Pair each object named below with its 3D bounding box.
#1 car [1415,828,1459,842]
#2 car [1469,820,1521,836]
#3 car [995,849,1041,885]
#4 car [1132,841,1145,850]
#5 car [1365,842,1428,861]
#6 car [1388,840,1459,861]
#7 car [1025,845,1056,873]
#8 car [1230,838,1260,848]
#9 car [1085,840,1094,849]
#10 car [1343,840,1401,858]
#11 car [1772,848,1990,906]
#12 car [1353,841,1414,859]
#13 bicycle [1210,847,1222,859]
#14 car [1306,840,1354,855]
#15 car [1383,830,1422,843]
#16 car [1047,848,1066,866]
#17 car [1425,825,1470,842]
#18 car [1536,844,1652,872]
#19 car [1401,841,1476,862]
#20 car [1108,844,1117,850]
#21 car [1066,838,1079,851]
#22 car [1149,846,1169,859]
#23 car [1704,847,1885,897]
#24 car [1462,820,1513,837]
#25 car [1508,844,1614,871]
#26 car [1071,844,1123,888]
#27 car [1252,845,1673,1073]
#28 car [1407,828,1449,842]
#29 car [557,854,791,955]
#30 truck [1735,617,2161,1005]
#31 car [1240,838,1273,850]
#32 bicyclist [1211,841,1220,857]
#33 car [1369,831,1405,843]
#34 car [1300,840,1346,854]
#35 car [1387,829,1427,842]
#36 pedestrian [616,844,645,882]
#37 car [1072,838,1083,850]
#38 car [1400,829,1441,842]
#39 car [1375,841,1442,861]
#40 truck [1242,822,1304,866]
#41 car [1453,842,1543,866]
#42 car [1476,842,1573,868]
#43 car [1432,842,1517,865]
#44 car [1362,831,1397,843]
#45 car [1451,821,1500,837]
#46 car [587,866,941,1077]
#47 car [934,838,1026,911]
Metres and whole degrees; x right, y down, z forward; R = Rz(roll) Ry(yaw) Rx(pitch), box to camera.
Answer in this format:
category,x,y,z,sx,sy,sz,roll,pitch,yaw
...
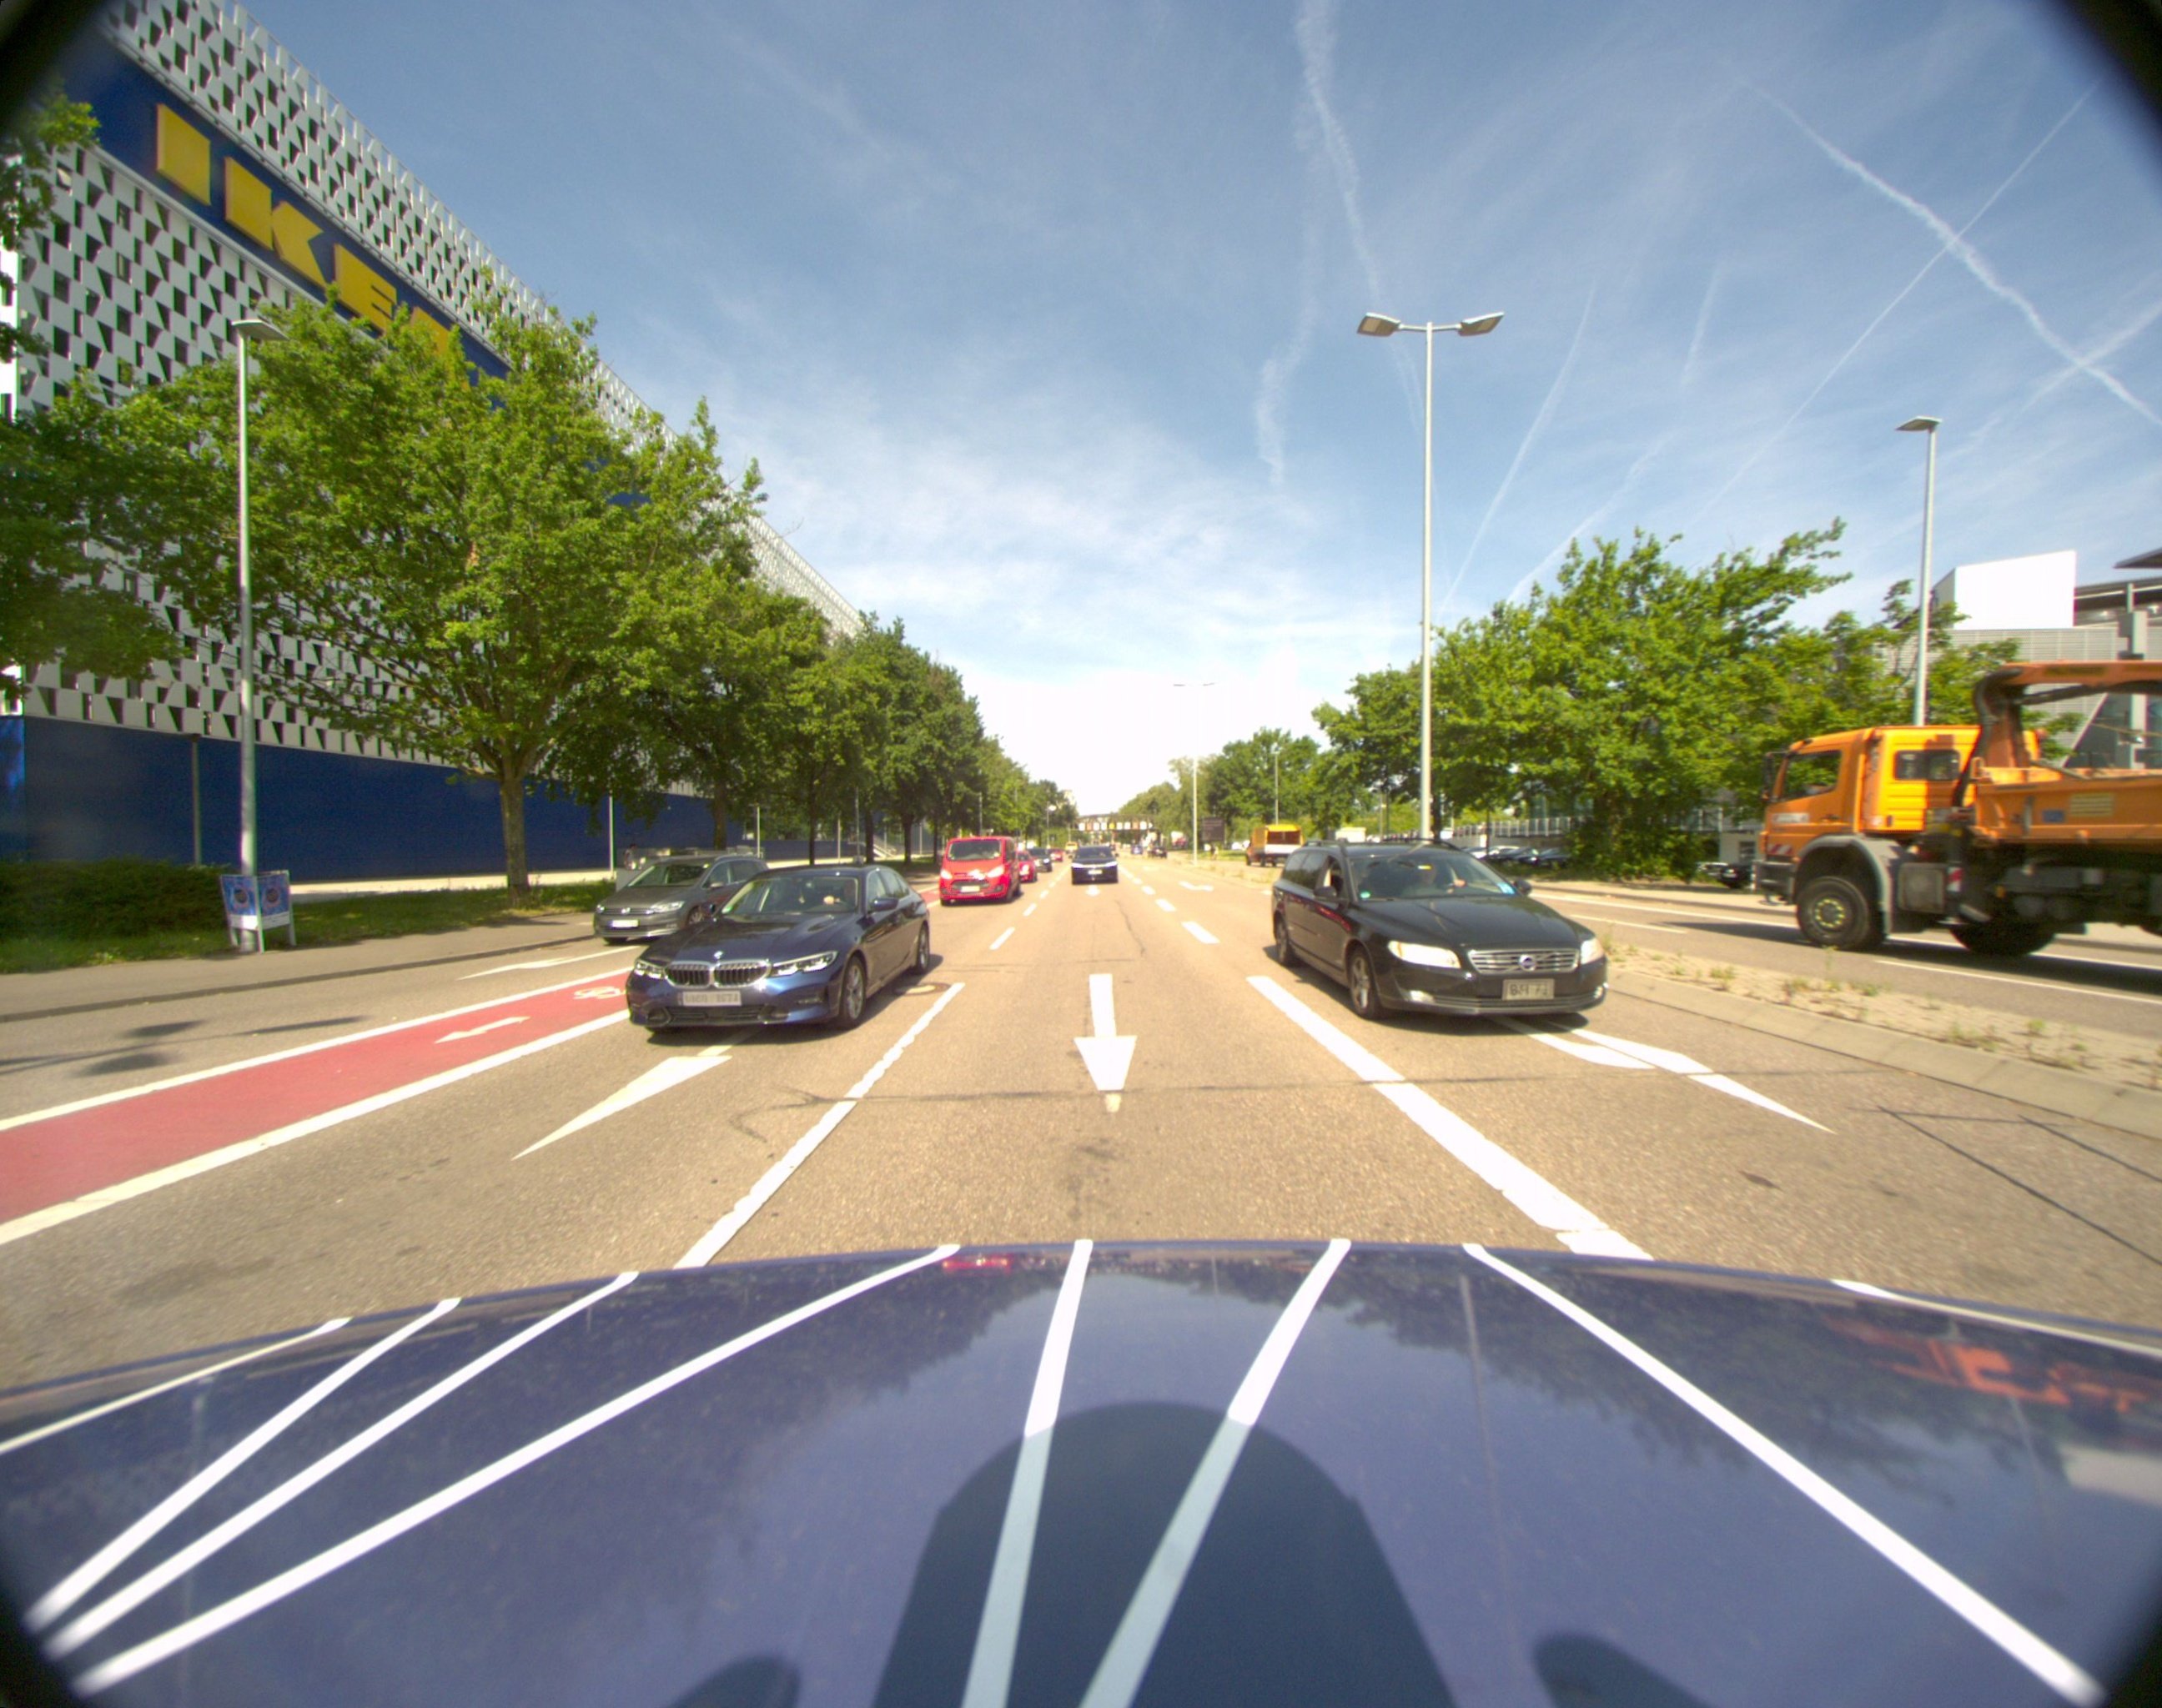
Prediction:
category,x,y,z,sx,sy,sz,roll,pitch,yaw
car,41.178,-2.221,87.937,4.196,1.491,1.690,2,1,2
car,40.687,-2.570,74.727,4.196,1.397,1.690,2,1,2
car,-2.762,0.537,33.980,1.692,1.414,3.915,-2,1,0
car,8.888,-1.304,117.936,1.732,1.430,3.869,1,1,1
car,24.476,-0.195,59.065,4.196,1.317,1.690,2,1,2
car,24.270,-0.232,53.972,4.196,1.292,1.690,2,1,2
car,-2.493,0.280,47.199,1.649,1.531,3.999,-3,1,0
car,24.951,-1.647,115.809,4.196,1.371,1.690,2,1,2
car,2.054,-2.389,181.660,1.998,2.002,3.998,-3,2,1
car,24.513,-0.439,64.129,4.196,1.315,1.690,2,1,2
car,22.708,0.621,21.700,4.226,1.387,1.802,2,1,0
car,24.526,-0.353,61.661,4.196,1.239,1.690,2,1,2
bicycle,13.330,-0.131,75.213,0.573,1.143,1.767,0,1,-11
car,24.997,-0.695,76.303,4.196,1.315,1.690,2,1,2
car,41.601,-2.310,98.416,4.196,1.491,1.690,2,1,2
car,-2.358,0.265,74.170,1.649,1.531,3.999,-3,1,0
car,41.136,-2.317,85.276,4.196,1.722,1.690,2,1,2
car,23.941,0.180,35.557,4.196,1.128,1.695,2,1,2
car,24.101,-0.168,51.339,4.196,1.252,1.690,2,1,2
car,7.099,-1.600,170.432,1.866,1.503,4.000,0,1,3
car,-1.358,-1.687,128.776,1.998,2.002,3.998,-3,2,1
car,9.288,-0.157,90.465,1.851,1.451,4.663,2,1,-1
car,22.814,0.552,24.415,4.034,1.394,1.809,2,1,0
car,41.390,-2.612,77.344,4.196,1.491,1.690,2,1,2
car,24.125,0.156,38.311,4.196,1.116,1.719,2,1,2
car,0.603,0.423,30.136,1.847,1.531,3.999,-3,1,0
car,3.211,0.707,7.737,1.882,1.513,4.868,-2,1,1
car,41.202,-2.251,90.271,4.196,1.491,1.690,2,1,2
car,-8.078,0.911,15.694,1.997,1.646,4.392,-2,1,8
truck,11.568,-0.383,7.969,2.753,3.659,7.578,2,1,1
car,24.902,-1.473,108.027,4.196,1.491,1.690,2,1,2
bicyclist,13.322,-0.514,75.106,0.578,1.587,0.909,1,2,-12
car,41.594,-2.335,103.380,4.196,1.491,1.690,2,1,2
car,24.966,-0.743,78.517,4.196,1.315,1.690,2,1,2
car,41.206,-2.292,96.132,4.196,1.491,1.690,2,1,2
pedestrian,-18.389,0.349,31.005,0.680,1.537,0.780,0,2,1
car,-0.692,-1.891,145.204,1.998,2.002,3.998,-3,2,1
car,41.320,-2.255,92.559,4.196,1.491,1.690,2,1,2
car,24.363,-0.242,56.660,4.196,1.248,1.690,2,1,2
truck,12.369,-0.649,49.470,2.381,2.610,6.672,0,1,1
car,23.919,-0.009,43.667,4.196,1.188,1.690,2,1,2
car,23.982,0.049,41.170,4.196,1.239,1.690,2,1,2
car,23.841,-0.062,46.123,4.196,1.198,1.690,2,1,2
car,41.602,-2.328,105.969,4.196,1.491,1.690,2,1,2
car,41.530,-2.635,80.075,4.196,1.491,1.690,2,1,2
car,-2.852,0.947,8.107,1.800,1.421,4.537,-2,1,0
car,-2.882,0.508,22.841,2.014,1.896,4.809,-2,1,0
